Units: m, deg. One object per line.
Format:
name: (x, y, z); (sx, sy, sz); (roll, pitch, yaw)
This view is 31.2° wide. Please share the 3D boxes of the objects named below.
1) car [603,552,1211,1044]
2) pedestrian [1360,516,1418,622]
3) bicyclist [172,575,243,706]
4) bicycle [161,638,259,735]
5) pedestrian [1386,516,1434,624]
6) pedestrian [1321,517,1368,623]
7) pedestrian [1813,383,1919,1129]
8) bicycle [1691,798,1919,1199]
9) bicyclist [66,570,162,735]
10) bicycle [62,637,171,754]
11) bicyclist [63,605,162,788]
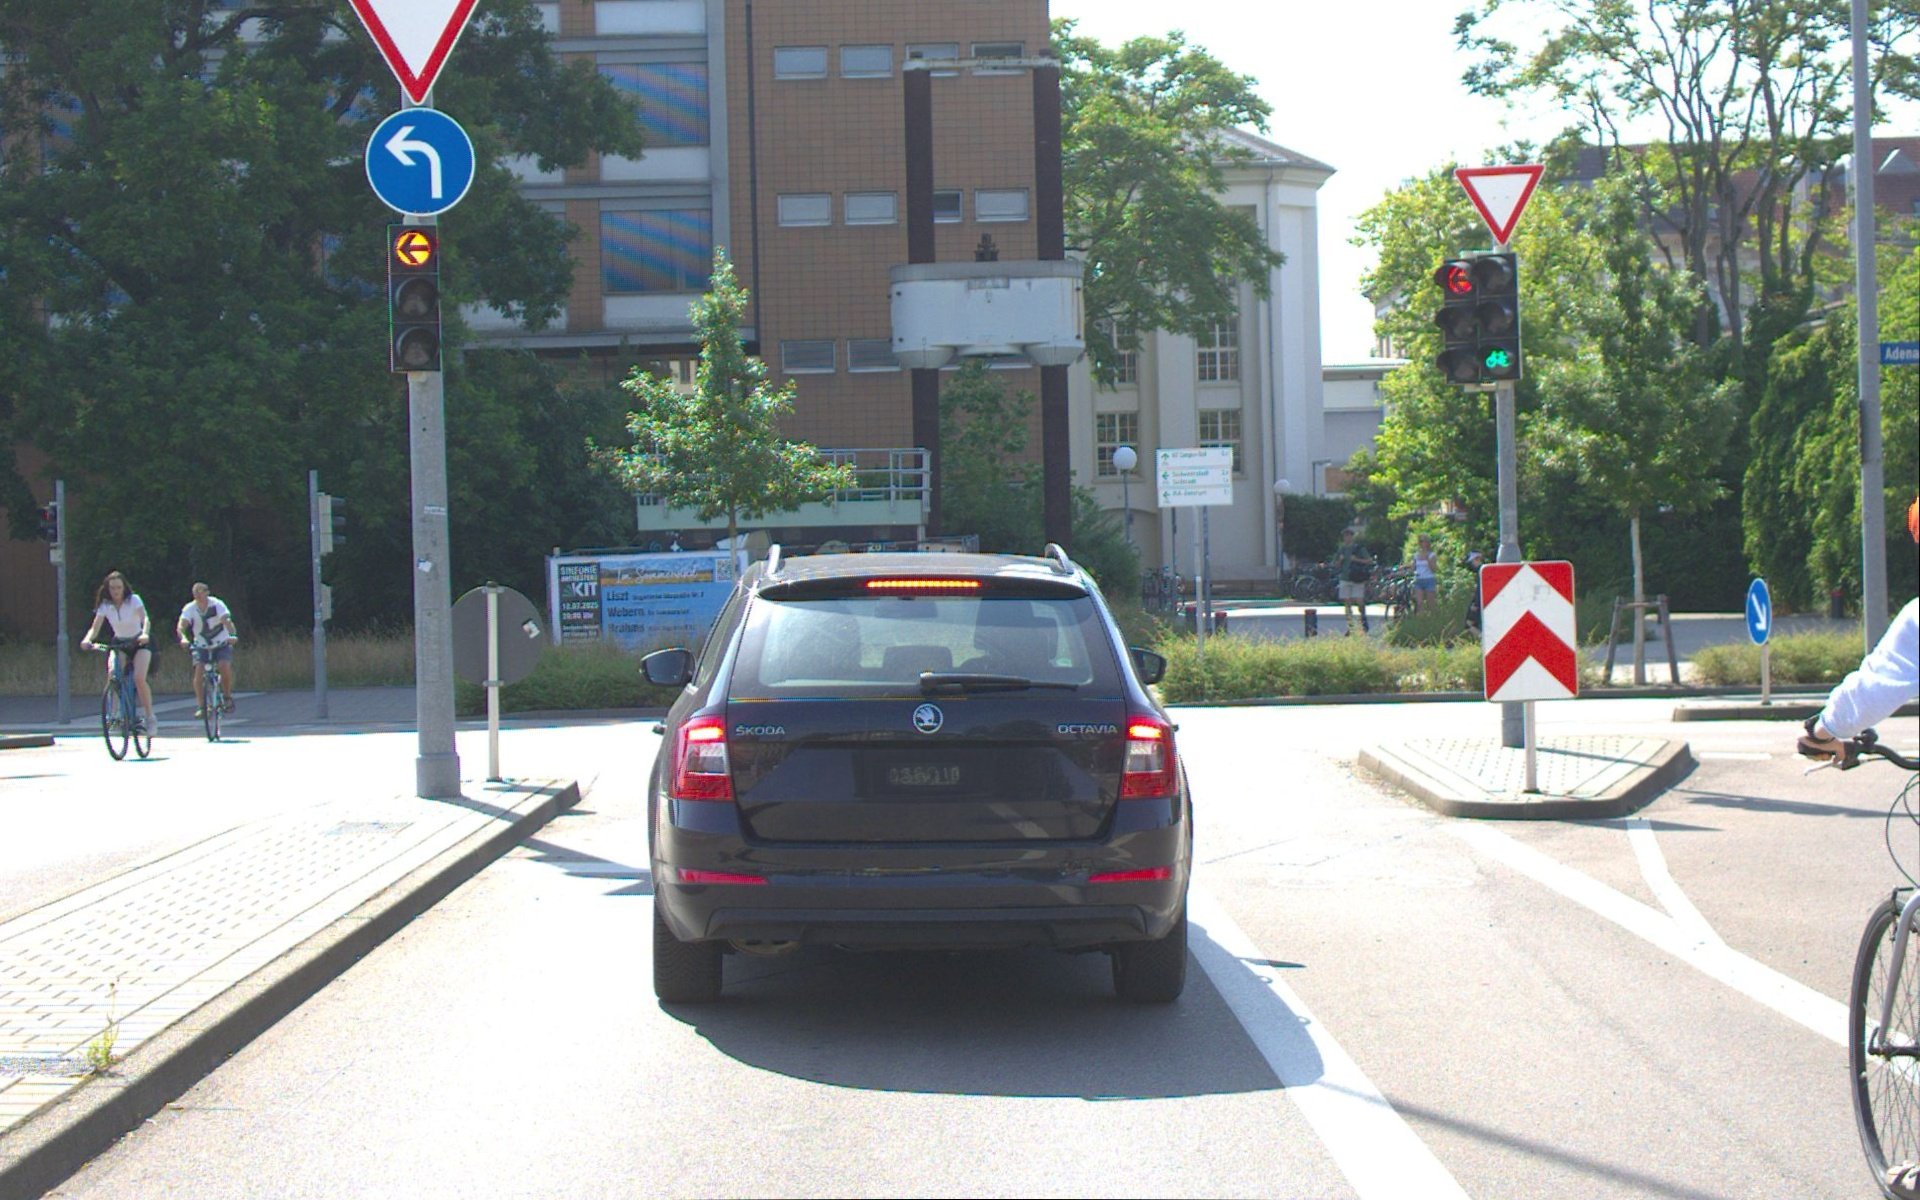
car: (-0.161, 0.555, 11.992); (1.780, 1.438, 3.818); (0, 1, 0)
pedestrian: (7.747, -0.563, 62.037); (0.795, 1.868, 0.638); (-3, 1, 25)
bicyclist: (-8.371, 0.442, 38.254); (0.539, 1.412, 1.030); (-3, 0, -2)
bicycle: (-8.361, 0.950, 38.377); (0.704, 0.974, 2.031); (-2, 1, -2)
pedestrian: (7.960, -0.530, 60.799); (0.637, 1.868, 0.796); (-3, 1, -1)
pedestrian: (6.951, -0.541, 62.065); (0.597, 1.868, 0.638); (-3, 1, 23)
pedestrian: (2.160, 0.305, 6.824); (0.583, 1.461, 1.014); (0, 0, -6)
bicycle: (2.127, 0.942, 7.100); (0.596, 0.928, 2.028); (0, 0, -6)
bicyclist: (-7.712, 0.467, 31.364); (0.618, 1.438, 0.921); (-4, 1, -5)
bicycle: (-7.684, 0.854, 31.385); (0.618, 0.957, 1.968); (-4, 1, -5)
bicyclist: (-7.668, 0.857, 31.137); (0.618, 1.576, 1.014); (-4, 1, -5)
